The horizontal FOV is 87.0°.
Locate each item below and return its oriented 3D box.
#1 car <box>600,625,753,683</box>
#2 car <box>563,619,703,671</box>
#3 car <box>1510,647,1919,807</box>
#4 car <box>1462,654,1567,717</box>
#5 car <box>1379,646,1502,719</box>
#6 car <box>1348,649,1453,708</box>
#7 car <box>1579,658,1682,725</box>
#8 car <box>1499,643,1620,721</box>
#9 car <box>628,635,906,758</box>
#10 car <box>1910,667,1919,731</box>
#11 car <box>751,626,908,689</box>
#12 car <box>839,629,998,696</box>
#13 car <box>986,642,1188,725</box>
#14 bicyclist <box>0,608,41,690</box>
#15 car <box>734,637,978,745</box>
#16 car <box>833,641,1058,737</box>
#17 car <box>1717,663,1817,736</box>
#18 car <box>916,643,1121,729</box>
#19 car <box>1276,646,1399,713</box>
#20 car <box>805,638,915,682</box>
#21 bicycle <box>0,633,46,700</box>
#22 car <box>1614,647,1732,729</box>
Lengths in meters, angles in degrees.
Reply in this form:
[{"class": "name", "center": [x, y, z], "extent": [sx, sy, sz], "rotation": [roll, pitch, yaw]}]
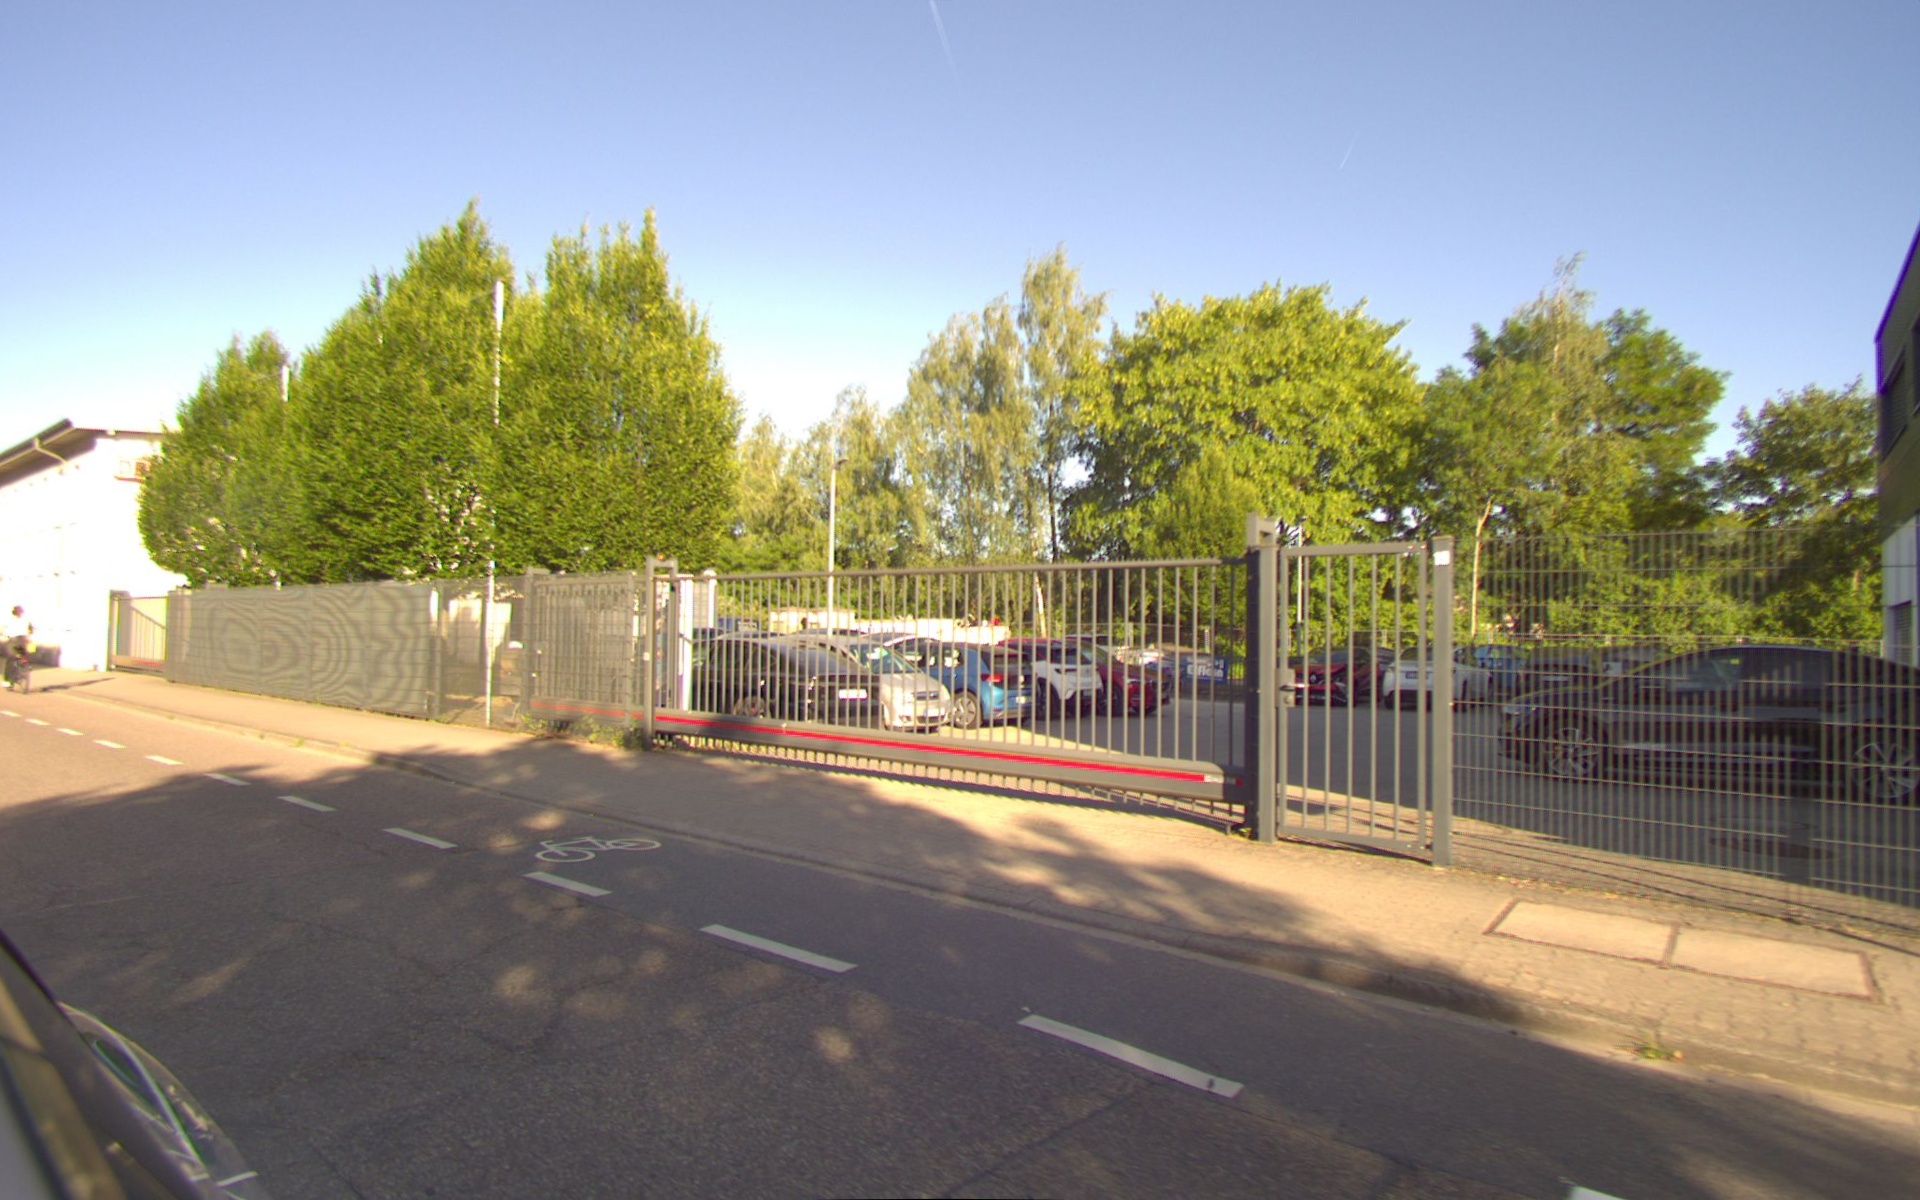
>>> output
[{"class": "car", "center": [-8.246, 1.613, 29.700], "extent": [1.873, 1.552, 3.948], "rotation": [-1, -4, 38]}, {"class": "car", "center": [-10.606, 1.506, 33.075], "extent": [1.873, 1.552, 3.948], "rotation": [-1, -4, 38]}, {"class": "car", "center": [8.730, 1.345, 11.452], "extent": [4.171, 1.552, 1.852], "rotation": [-3, -5, 37]}, {"class": "car", "center": [16.180, 2.461, 29.455], "extent": [1.874, 1.663, 4.146], "rotation": [-1, -4, 40]}, {"class": "car", "center": [12.433, 2.107, 26.056], "extent": [2.007, 1.663, 4.220], "rotation": [-1, -4, 38]}, {"class": "car", "center": [13.703, 2.435, 31.369], "extent": [1.874, 1.663, 4.146], "rotation": [-1, -4, 40]}, {"class": "car", "center": [18.462, 2.488, 27.807], "extent": [1.874, 1.663, 4.146], "rotation": [-1, -4, 40]}, {"class": "car", "center": [14.567, 1.960, 24.474], "extent": [2.007, 1.663, 4.220], "rotation": [-1, -4, 38]}, {"class": "car", "center": [-2.946, 1.364, 15.154], "extent": [3.993, 1.552, 1.852], "rotation": [-1, -4, 37]}, {"class": "car", "center": [27.320, 2.653, 26.413], "extent": [4.131, 1.663, 1.881], "rotation": [3, -4, -18]}, {"class": "car", "center": [-3.424, 1.559, 27.140], "extent": [1.873, 1.552, 3.948], "rotation": [-1, -4, 38]}, {"class": "car", "center": [-0.974, 1.602, 25.636], "extent": [1.873, 1.552, 3.948], "rotation": [-1, -4, 38]}, {"class": "car", "center": [2.882, 1.871, 23.250], "extent": [4.195, 1.663, 1.943], "rotation": [-1, -4, 37]}, {"class": "bicyclist", "center": [-19.511, 0.998, 20.772], "extent": [0.832, 1.640, 0.739], "rotation": [-1, -3, 37]}, {"class": "car", "center": [-1.857, 1.511, 17.620], "extent": [3.993, 1.618, 1.852], "rotation": [-1, -4, 37]}, {"class": "car", "center": [-0.322, 1.637, 19.396], "extent": [3.993, 1.589, 1.852], "rotation": [-1, -4, 37]}, {"class": "car", "center": [20.846, 2.516, 26.080], "extent": [1.874, 1.663, 4.146], "rotation": [-1, -4, 40]}, {"class": "car", "center": [1.212, 1.790, 21.643], "extent": [3.993, 1.603, 1.852], "rotation": [-1, -4, 37]}, {"class": "car", "center": [10.479, 2.188, 27.906], "extent": [1.874, 1.663, 4.146], "rotation": [-1, -4, 40]}, {"class": "car", "center": [-3.719, 2.184, 37.325], "extent": [3.998, 1.468, 1.757], "rotation": [-1, -3, 41]}, {"class": "bicycle", "center": [-19.517, 1.335, 20.772], "extent": [2.168, 1.298, 0.661], "rotation": [-1, -3, 37]}, {"class": "car", "center": [16.355, 1.980, 23.131], "extent": [2.007, 1.663, 4.220], "rotation": [-1, -4, 38]}]
